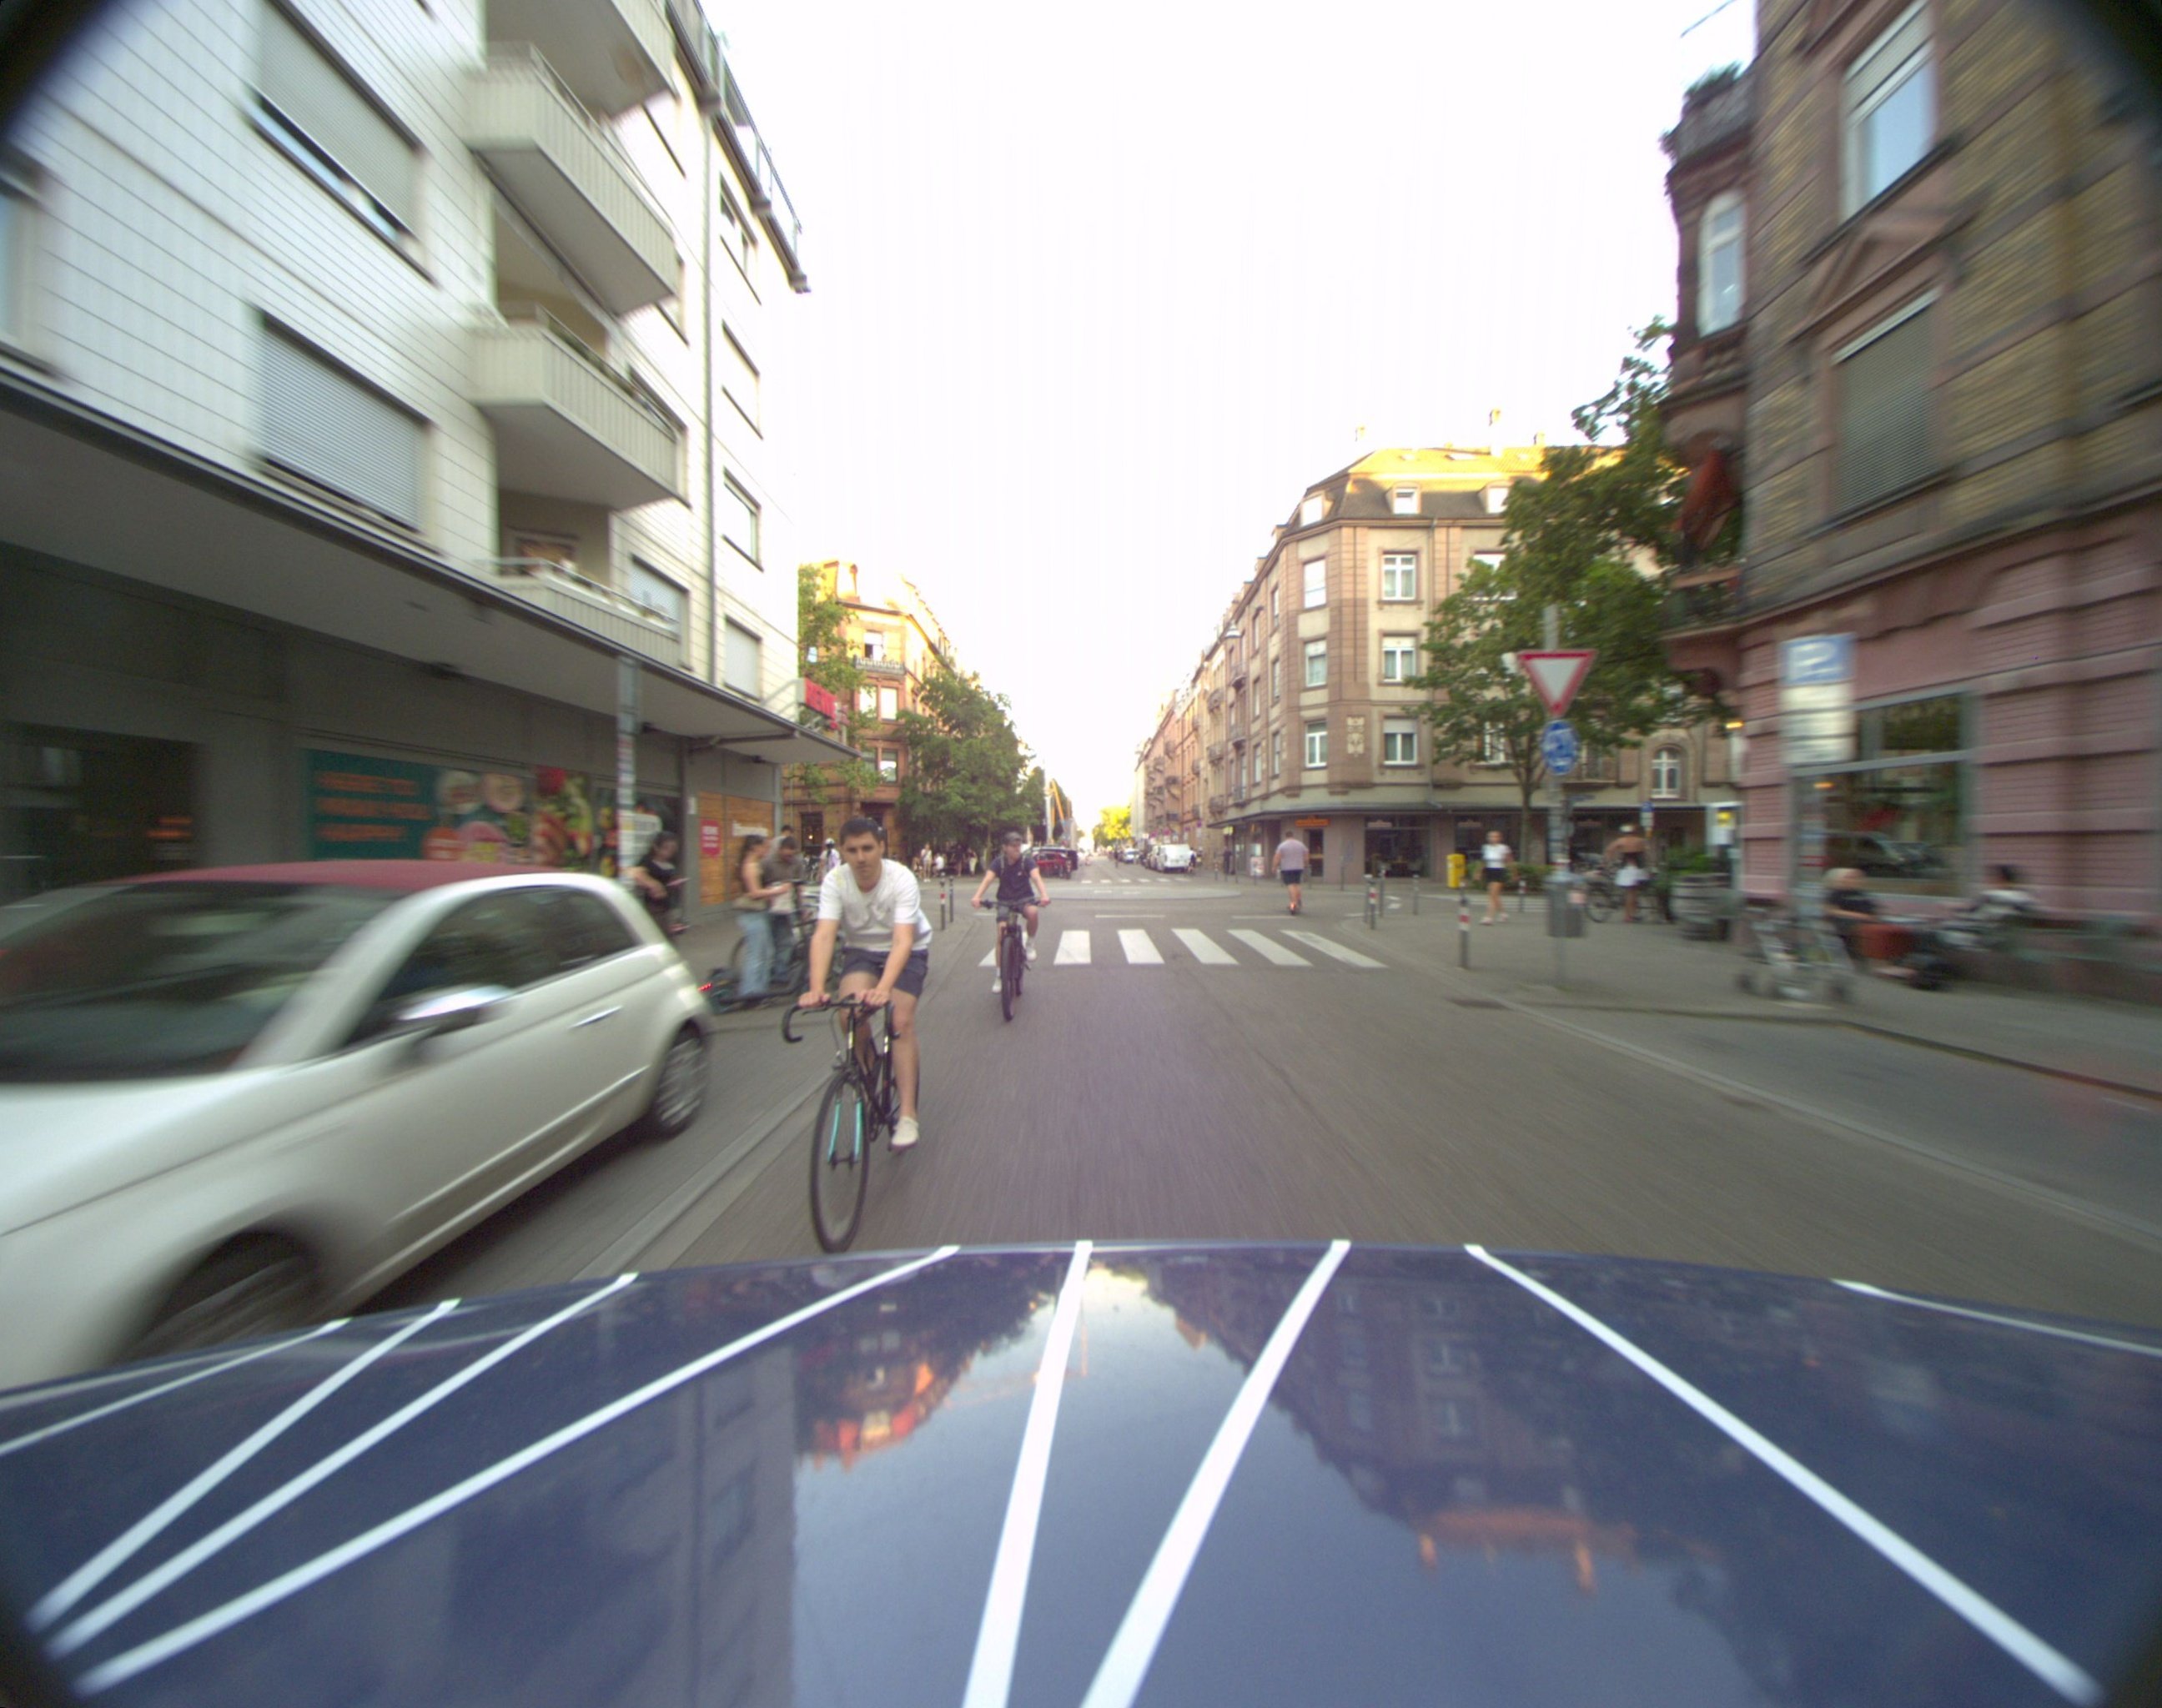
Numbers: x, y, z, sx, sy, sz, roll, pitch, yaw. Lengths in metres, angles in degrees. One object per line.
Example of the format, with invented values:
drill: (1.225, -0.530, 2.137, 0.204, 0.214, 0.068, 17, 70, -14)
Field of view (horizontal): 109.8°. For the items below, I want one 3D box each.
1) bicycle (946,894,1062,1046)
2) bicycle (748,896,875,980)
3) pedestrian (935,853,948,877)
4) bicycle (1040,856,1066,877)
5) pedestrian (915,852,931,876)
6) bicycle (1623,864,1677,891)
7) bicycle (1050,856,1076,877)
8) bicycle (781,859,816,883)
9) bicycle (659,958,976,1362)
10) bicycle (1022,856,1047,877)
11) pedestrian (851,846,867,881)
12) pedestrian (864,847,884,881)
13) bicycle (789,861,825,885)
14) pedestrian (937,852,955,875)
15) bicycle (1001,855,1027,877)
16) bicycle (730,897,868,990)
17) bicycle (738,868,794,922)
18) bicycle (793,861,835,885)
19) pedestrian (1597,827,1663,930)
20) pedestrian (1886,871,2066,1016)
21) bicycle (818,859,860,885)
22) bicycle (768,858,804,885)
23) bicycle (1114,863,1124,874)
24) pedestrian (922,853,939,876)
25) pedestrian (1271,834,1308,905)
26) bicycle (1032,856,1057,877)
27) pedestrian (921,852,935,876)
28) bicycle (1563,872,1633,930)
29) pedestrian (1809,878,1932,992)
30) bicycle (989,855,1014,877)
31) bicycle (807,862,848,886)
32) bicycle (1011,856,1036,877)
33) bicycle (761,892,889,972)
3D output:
bicycle: (-0.675, 1.037, 7.533, 0.794, 1.133, 2.343, -1, 0, 2)
bicycle: (-3.398, 1.054, 9.630, 1.421, 0.978, 0.510, 1, 2, -3)
pedestrian: (-7.588, 0.595, 41.325, 0.641, 1.265, 0.674, -2, 2, -14)
bicycle: (-1.657, 0.711, 44.923, 0.666, 1.162, 2.111, 1, 1, -27)
pedestrian: (-8.534, 0.536, 41.013, 0.676, 1.265, 0.639, -2, 2, -27)
bicycle: (19.995, 0.829, 26.706, 1.488, 0.891, 0.477, -1, 2, 5)
bicycle: (-1.091, 0.732, 44.793, 0.666, 1.162, 2.111, 1, 1, -27)
bicycle: (-13.877, 0.843, 37.376, 0.711, 1.072, 1.885, -1, 2, 11)
bicycle: (-0.994, 1.137, 3.445, 0.658, 1.012, 1.917, -1, 2, 3)
bicycle: (-2.723, 0.703, 44.116, 0.666, 1.125, 2.111, 1, 1, -27)
pedestrian: (-11.232, 0.486, 38.451, 0.675, 1.735, 0.640, -1, 2, -8)
pedestrian: (-10.407, 0.491, 38.148, 0.673, 1.628, 0.642, 1, 3, 37)
bicycle: (-13.360, 0.909, 37.096, 0.711, 1.072, 1.885, -1, 2, 11)
pedestrian: (-7.584, 0.510, 42.679, 0.639, 1.265, 0.676, 1, 3, 39)
bicycle: (-3.847, 0.670, 43.478, 0.666, 1.158, 2.111, 1, 1, -27)
bicycle: (-3.396, 1.062, 9.169, 1.482, 0.996, 0.511, 2, 2, 7)
bicycle: (-6.714, 0.856, 16.290, 0.457, 1.019, 1.782, -1, 1, -1)
bicycle: (-12.753, 0.885, 36.364, 0.711, 1.052, 1.887, 0, 2, 27)
pedestrian: (10.258, 0.447, 14.189, 1.024, 1.844, 0.723, -1, -1, -39)
pedestrian: (8.597, 0.816, 7.334, 0.650, 1.247, 0.907, -4, 1, -15)
bicycle: (-11.389, 0.838, 35.842, 0.711, 1.148, 1.887, 0, 2, 27)
bicycle: (-14.474, 0.832, 37.313, 0.711, 1.232, 1.885, -1, 2, 11)
bicycle: (3.774, 1.424, 75.230, 0.754, 1.124, 1.975, -1, 0, -5)
pedestrian: (-8.399, 0.574, 42.482, 0.673, 1.265, 0.641, 0, 2, 27)
pedestrian: (4.910, 0.353, 17.898, 0.808, 1.650, 0.673, 1, 1, 15)
bicycle: (-2.147, 0.723, 44.457, 0.666, 1.125, 2.111, 1, 1, -27)
pedestrian: (-8.399, 0.530, 41.637, 0.675, 1.265, 0.639, -2, 2, -15)
bicycle: (9.856, 0.872, 14.458, 1.779, 1.019, 0.611, 0, -1, -39)
pedestrian: (8.587, 0.856, 8.295, 0.504, 1.137, 0.791, -1, 2, 2)
bicycle: (-4.512, 0.658, 43.170, 0.666, 1.158, 2.111, 1, 1, -27)
bicycle: (-12.032, 0.926, 36.142, 0.711, 1.046, 1.887, 0, 2, 27)
bicycle: (-3.321, 0.690, 43.762, 0.666, 1.125, 2.111, 1, 1, -27)
bicycle: (-3.445, 1.040, 10.278, 1.552, 0.996, 0.510, 1, 2, -3)
